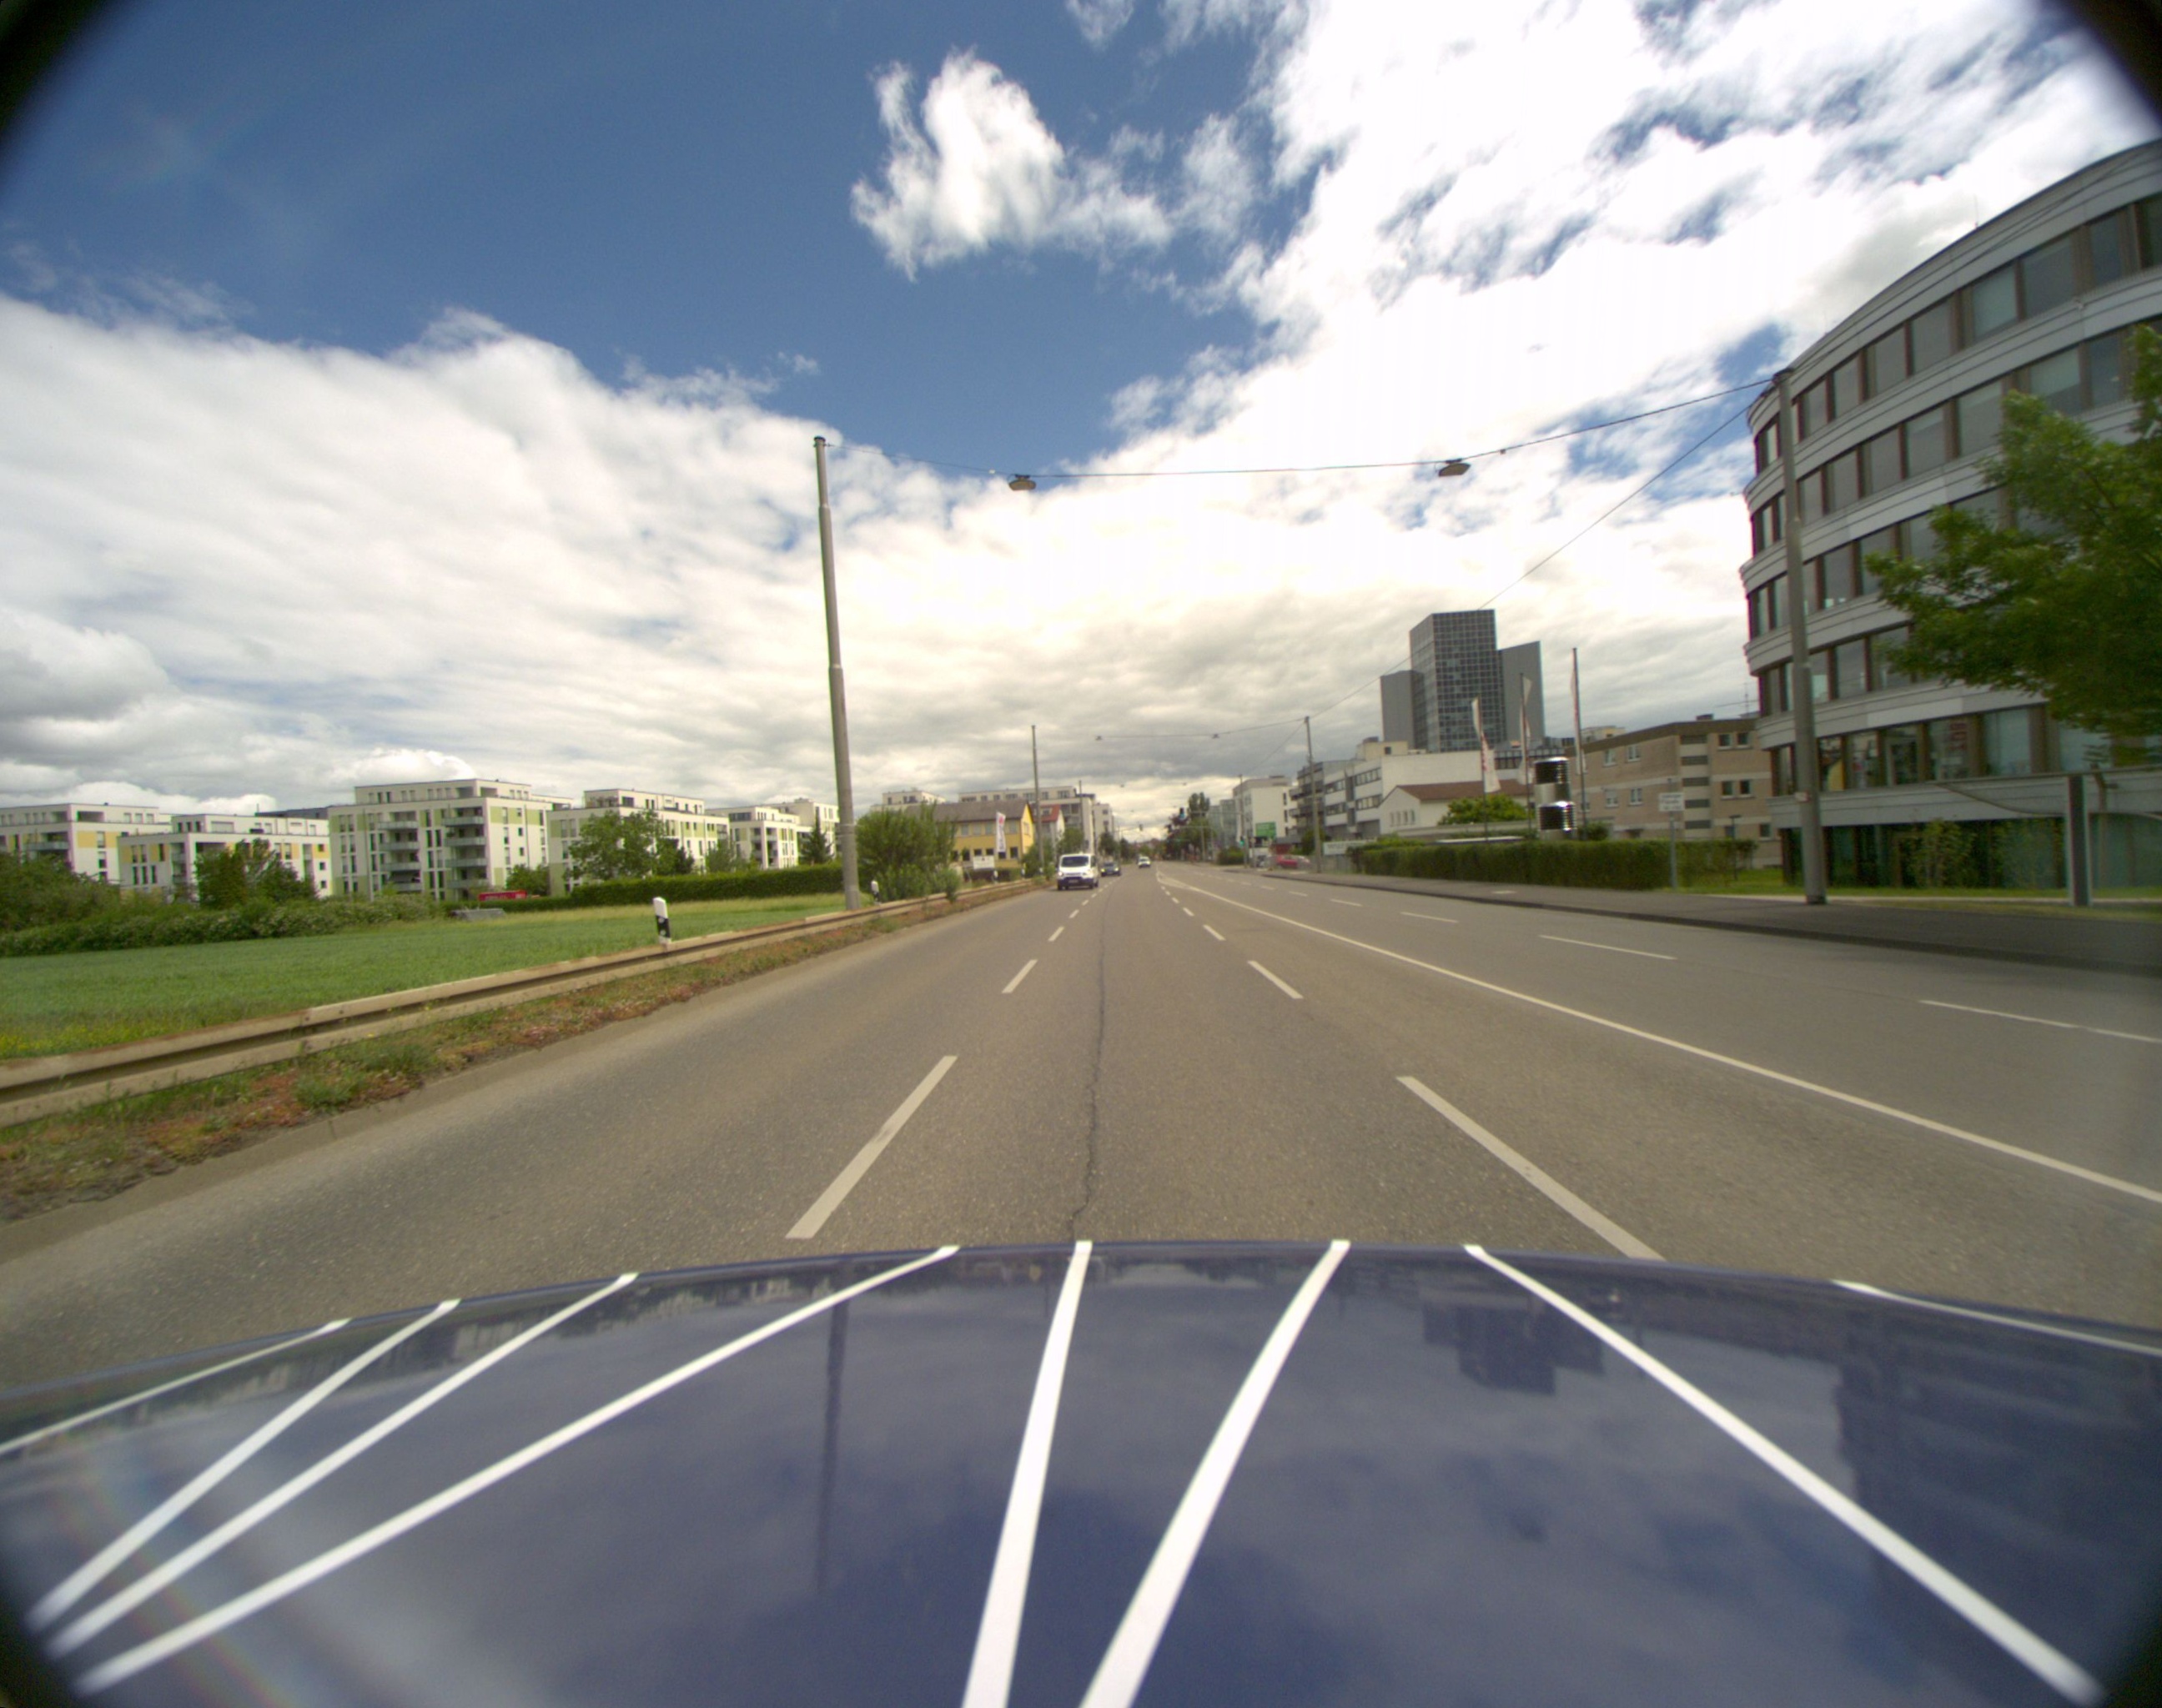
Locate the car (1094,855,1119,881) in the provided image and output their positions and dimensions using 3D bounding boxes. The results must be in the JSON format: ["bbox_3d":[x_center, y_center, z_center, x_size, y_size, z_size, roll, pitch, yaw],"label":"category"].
[{"bbox_3d":[2.040,1.115,61.714,1.807,1.914,4.000,-3,1,1],"label":"car"}]

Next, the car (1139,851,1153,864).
[{"bbox_3d":[10.265,0.571,120.376,1.800,2.002,4.000,-3,1,1],"label":"car"}]

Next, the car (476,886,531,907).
[{"bbox_3d":[-64.472,4.777,84.890,4.437,2.002,2.000,-3,1,-1],"label":"car"}]

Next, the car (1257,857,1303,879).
[{"bbox_3d":[19.716,1.363,75.471,3.996,2.002,1.920,-3,1,2],"label":"car"}]

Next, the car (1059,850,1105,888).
[{"bbox_3d":[0.142,0.794,43.501,1.998,1.907,5.884,-3,0,5],"label":"car"}]

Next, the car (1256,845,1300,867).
[{"bbox_3d":[20.199,0.180,78.081,3.996,2.002,1.904,-3,1,2],"label":"car"}]

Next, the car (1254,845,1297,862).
[{"bbox_3d":[20.471,-0.041,80.127,3.996,1.324,1.824,-5,-1,2],"label":"car"}]

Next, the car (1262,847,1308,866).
[{"bbox_3d":[19.504,0.223,72.660,3.801,1.601,1.836,-2,0,0],"label":"car"}]
